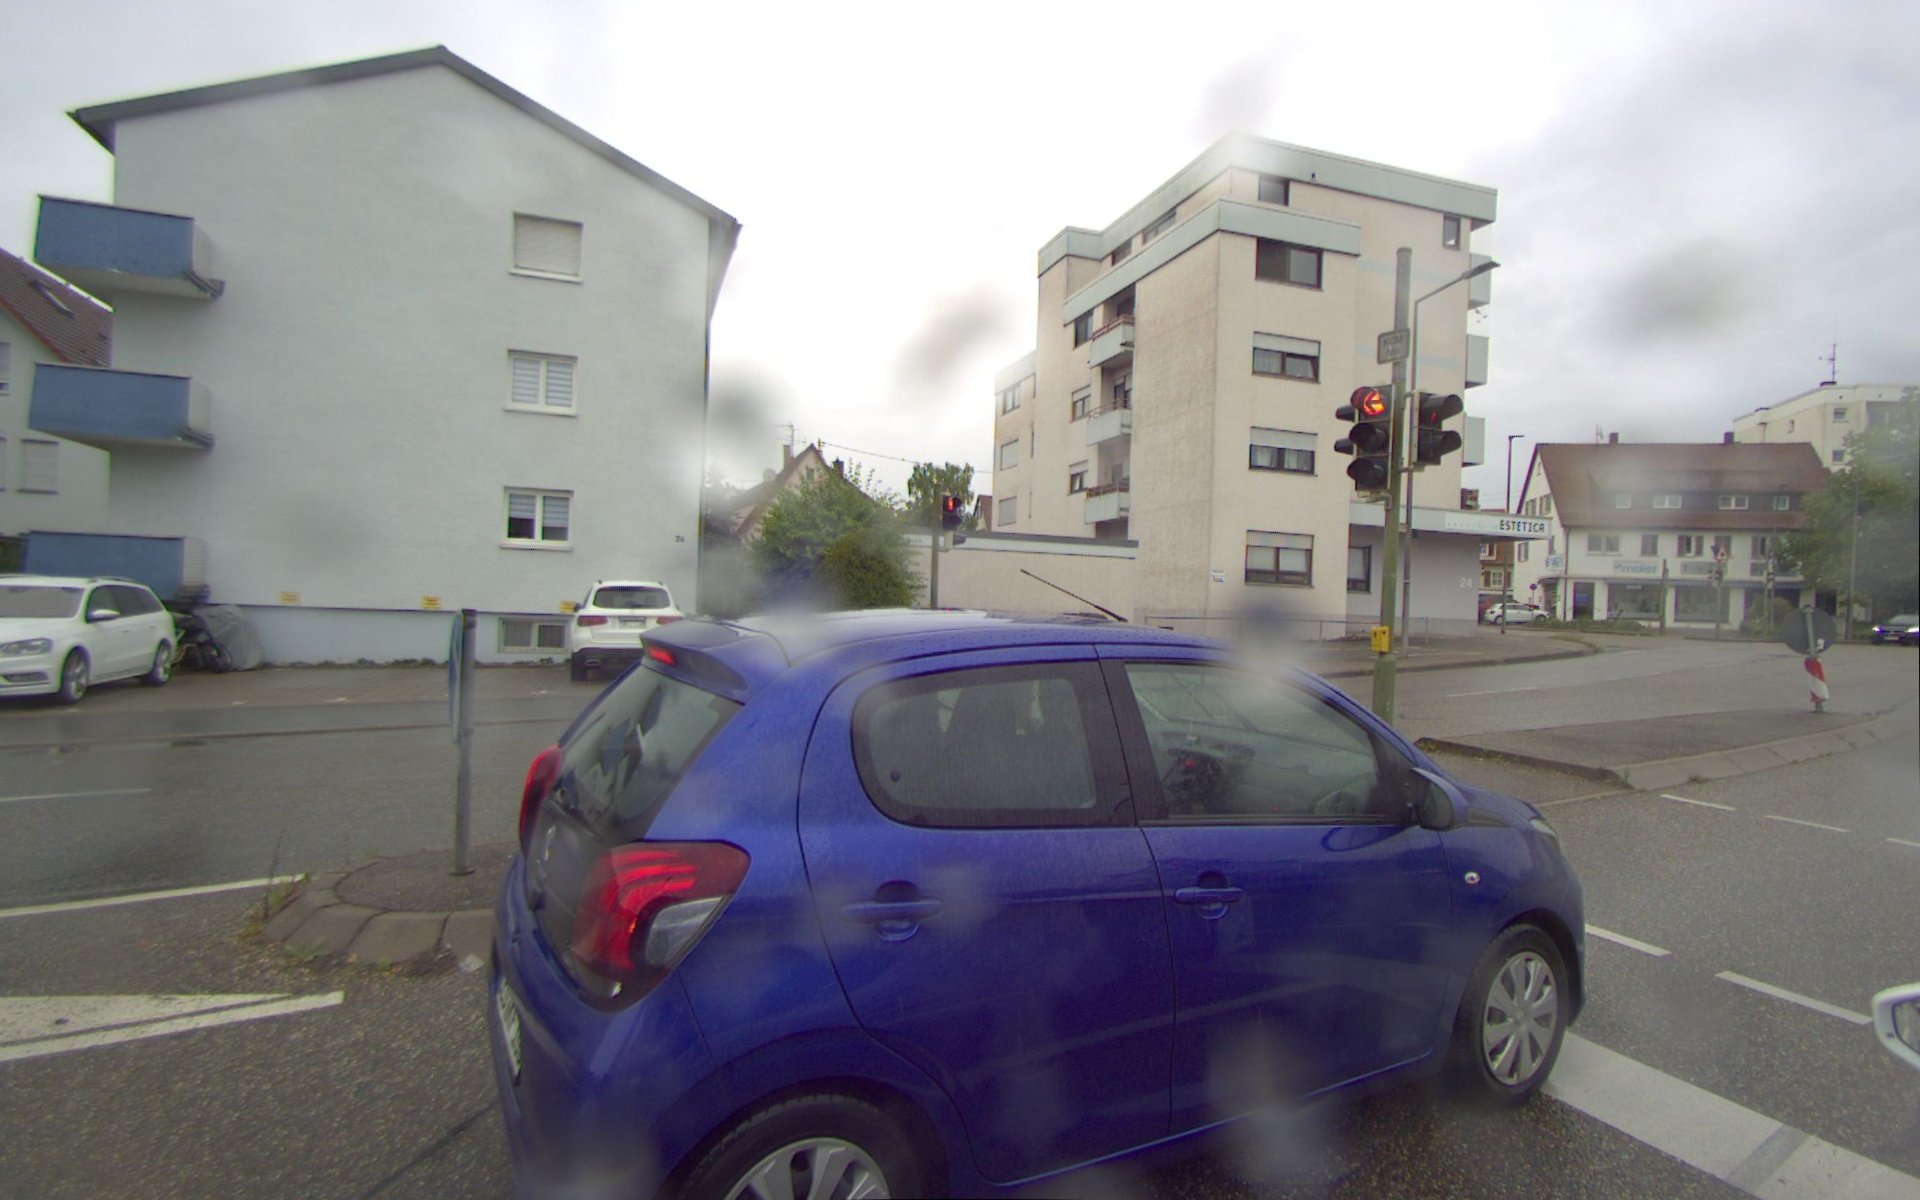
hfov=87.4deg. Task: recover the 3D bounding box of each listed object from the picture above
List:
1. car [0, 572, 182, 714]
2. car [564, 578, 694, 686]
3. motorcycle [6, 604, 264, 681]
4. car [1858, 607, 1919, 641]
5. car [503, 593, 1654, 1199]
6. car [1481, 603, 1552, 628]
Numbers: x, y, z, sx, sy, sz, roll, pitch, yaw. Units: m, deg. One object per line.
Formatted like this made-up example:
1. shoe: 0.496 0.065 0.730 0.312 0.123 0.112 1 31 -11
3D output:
1. car: -11.356 0.441 12.311 1.878 1.493 4.209 1 0 -24
2. car: -5.890 0.499 17.834 1.909 1.658 4.446 1 0 -19
3. motorcycle: -13.107 0.636 16.083 0.864 1.115 3.113 2 1 43
4. car: 42.232 1.063 45.096 3.785 1.439 1.770 1 0 -30
5. car: 0.430 0.733 3.107 3.231 1.429 1.571 1 1 -30
6. car: 38.098 1.020 68.844 3.887 1.593 1.873 1 1 17
